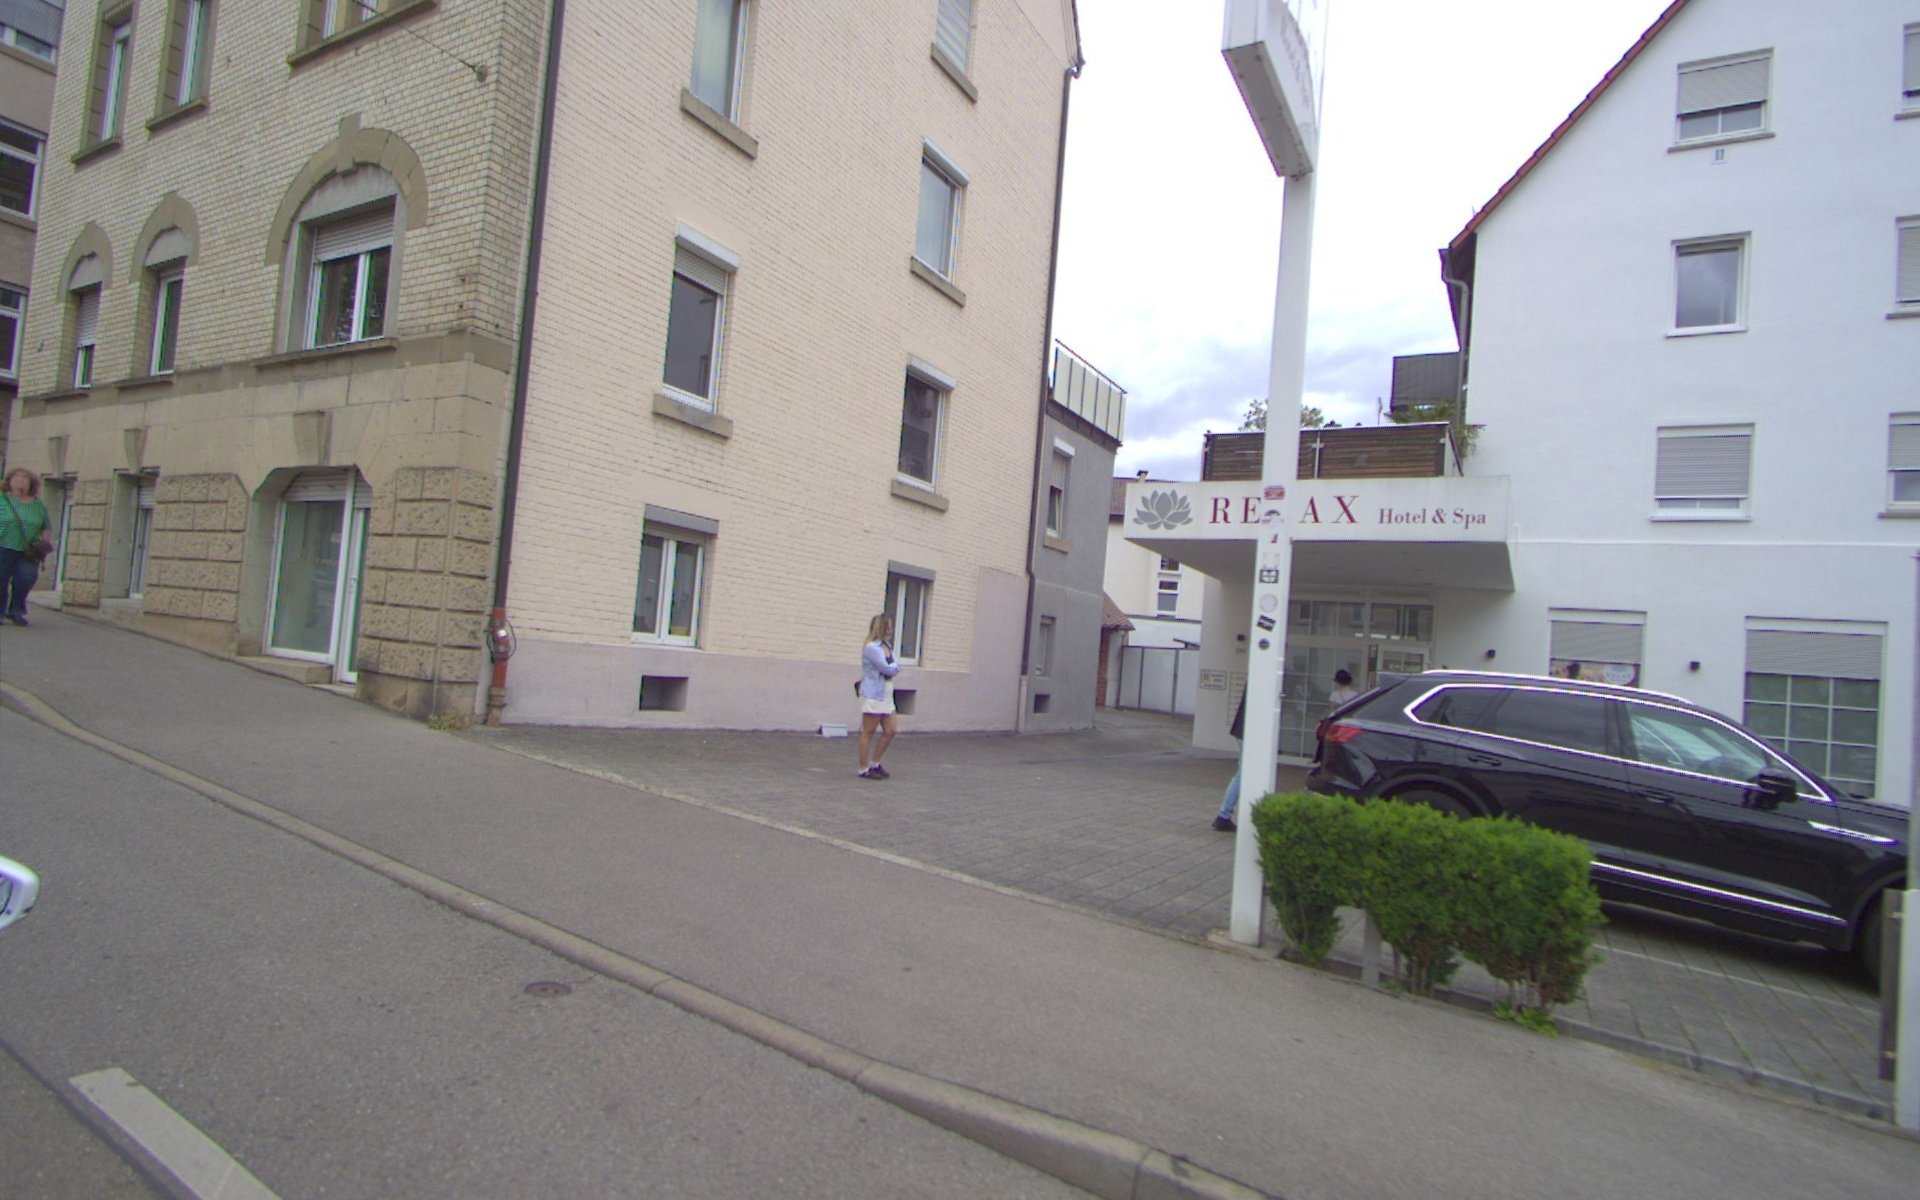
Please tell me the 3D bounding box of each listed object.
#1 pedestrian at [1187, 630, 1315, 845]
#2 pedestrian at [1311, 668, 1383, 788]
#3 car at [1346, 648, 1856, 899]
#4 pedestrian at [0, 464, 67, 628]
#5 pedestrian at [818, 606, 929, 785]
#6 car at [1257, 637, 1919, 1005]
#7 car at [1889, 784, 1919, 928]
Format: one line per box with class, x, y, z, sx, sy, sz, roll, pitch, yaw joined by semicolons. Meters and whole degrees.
pedestrian;2.586;1.192;8.917;0.755;1.727;0.646;7;-1;31
pedestrian;5.840;1.922;15.176;0.696;1.674;0.762;7;-1;32
car;7.323;1.890;12.076;4.623;1.933;1.999;7;-2;30
pedestrian;-10.426;-0.605;10.930;0.653;1.707;0.870;7;1;37
pedestrian;-0.835;0.917;9.737;0.674;1.600;0.559;7;-1;31
car;5.040;1.495;7.441;5.007;1.702;1.999;7;-2;29
car;11.185;2.772;8.626;4.252;1.369;1.916;9;-2;30
